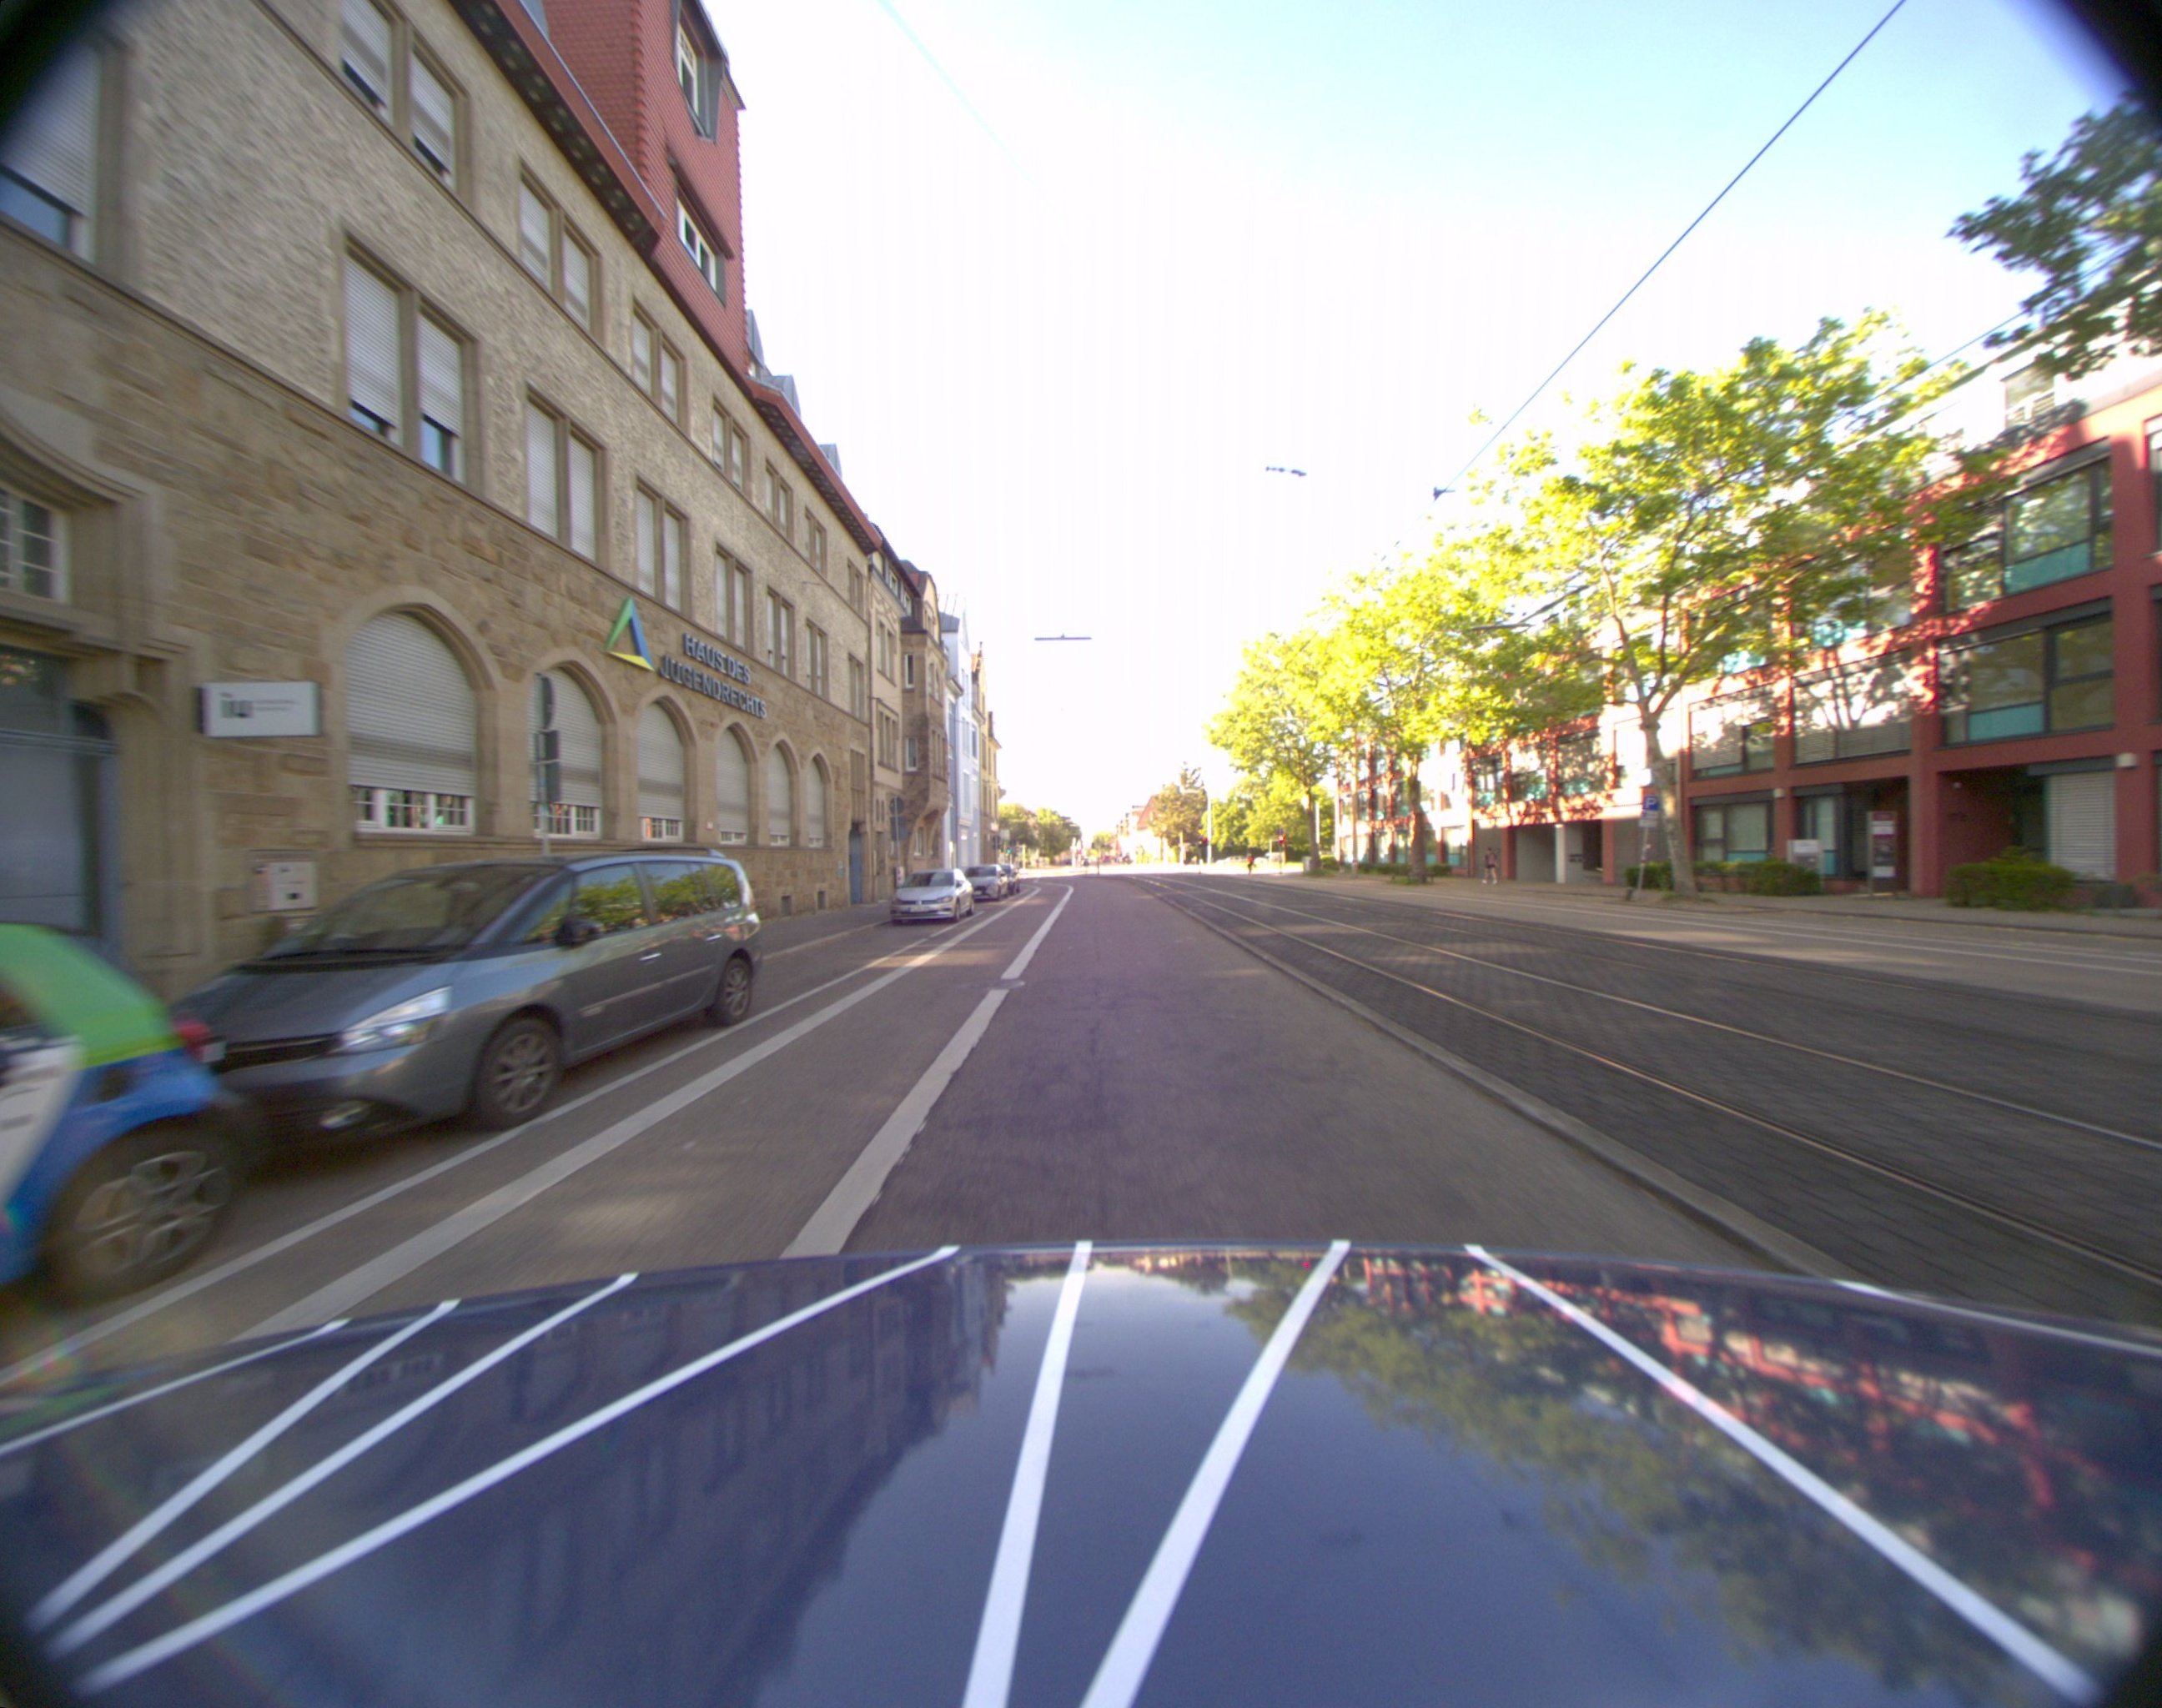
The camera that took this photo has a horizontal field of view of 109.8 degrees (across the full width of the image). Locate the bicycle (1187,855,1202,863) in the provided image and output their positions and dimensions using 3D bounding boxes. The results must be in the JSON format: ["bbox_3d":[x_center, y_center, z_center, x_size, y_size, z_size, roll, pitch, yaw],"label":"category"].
[{"bbox_3d":[17.092,0.756,114.470,2.284,1.111,0.930,-1,0,9],"label":"bicycle"}]

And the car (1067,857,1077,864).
[{"bbox_3d":[-2.046,1.438,172.488,1.704,1.541,4.002,-3,0,6],"label":"car"}]

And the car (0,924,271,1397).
[{"bbox_3d":[-4.499,1.099,1.516,1.635,1.502,3.717,-3,0,2],"label":"car"}]

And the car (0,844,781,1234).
[{"bbox_3d":[-4.309,0.899,6.078,1.757,1.844,4.816,-2,0,1],"label":"car"}]

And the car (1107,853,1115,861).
[{"bbox_3d":[7.785,0.896,198.047,2.024,2.001,5.253,1,-1,4],"label":"car"}]

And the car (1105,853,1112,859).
[{"bbox_3d":[8.254,0.477,225.479,1.923,1.704,4.002,-3,0,5],"label":"car"}]

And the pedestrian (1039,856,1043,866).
[{"bbox_3d":[-6.702,1.201,127.332,0.655,1.664,0.943,1,0,3],"label":"pedestrian"}]

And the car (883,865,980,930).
[{"bbox_3d":[-4.036,1.131,21.187,1.718,1.492,4.226,-3,0,1],"label":"car"}]

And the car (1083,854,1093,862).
[{"bbox_3d":[1.472,0.838,165.160,1.923,1.704,4.001,-3,0,3],"label":"car"}]

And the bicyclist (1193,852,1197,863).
[{"bbox_3d":[17.228,0.549,114.442,0.559,1.613,0.899,-1,0,9],"label":"bicyclist"}]

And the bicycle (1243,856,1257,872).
[{"bbox_3d":[13.963,0.849,62.771,0.632,1.123,2.038,-4,3,26],"label":"bicycle"}]

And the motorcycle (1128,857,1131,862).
[{"bbox_3d":[10.194,1.116,160.041,0.605,1.040,2.438,-3,0,3],"label":"motorcycle"}]

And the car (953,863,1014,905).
[{"bbox_3d":[-3.934,1.178,31.378,1.757,1.492,4.196,-3,0,2],"label":"car"}]

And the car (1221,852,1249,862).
[{"bbox_3d":[23.020,0.390,113.430,3.995,1.425,1.817,-1,0,7],"label":"car"}]

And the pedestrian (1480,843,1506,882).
[{"bbox_3d":[18.909,0.390,34.911,0.627,1.708,0.900,-3,0,0],"label":"pedestrian"}]

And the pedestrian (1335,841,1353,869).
[{"bbox_3d":[19.100,0.099,55.269,0.913,2.002,0.780,-3,0,-8],"label":"pedestrian"}]

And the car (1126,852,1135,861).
[{"bbox_3d":[11.476,0.537,175.111,1.923,1.889,4.001,-3,0,4],"label":"car"}]

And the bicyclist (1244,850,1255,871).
[{"bbox_3d":[13.945,0.568,62.740,0.605,1.682,0.934,-3,0,26],"label":"bicyclist"}]

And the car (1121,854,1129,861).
[{"bbox_3d":[11.006,0.803,189.875,1.924,1.704,4.001,-3,0,2],"label":"car"}]

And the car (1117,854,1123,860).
[{"bbox_3d":[11.585,0.794,225.592,1.923,1.704,4.001,-3,0,2],"label":"car"}]

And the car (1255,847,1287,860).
[{"bbox_3d":[28.897,-0.098,115.644,4.311,1.856,1.817,-1,0,3],"label":"car"}]

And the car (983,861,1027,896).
[{"bbox_3d":[-3.618,1.145,36.915,1.659,1.474,4.000,-2,0,1],"label":"car"}]
